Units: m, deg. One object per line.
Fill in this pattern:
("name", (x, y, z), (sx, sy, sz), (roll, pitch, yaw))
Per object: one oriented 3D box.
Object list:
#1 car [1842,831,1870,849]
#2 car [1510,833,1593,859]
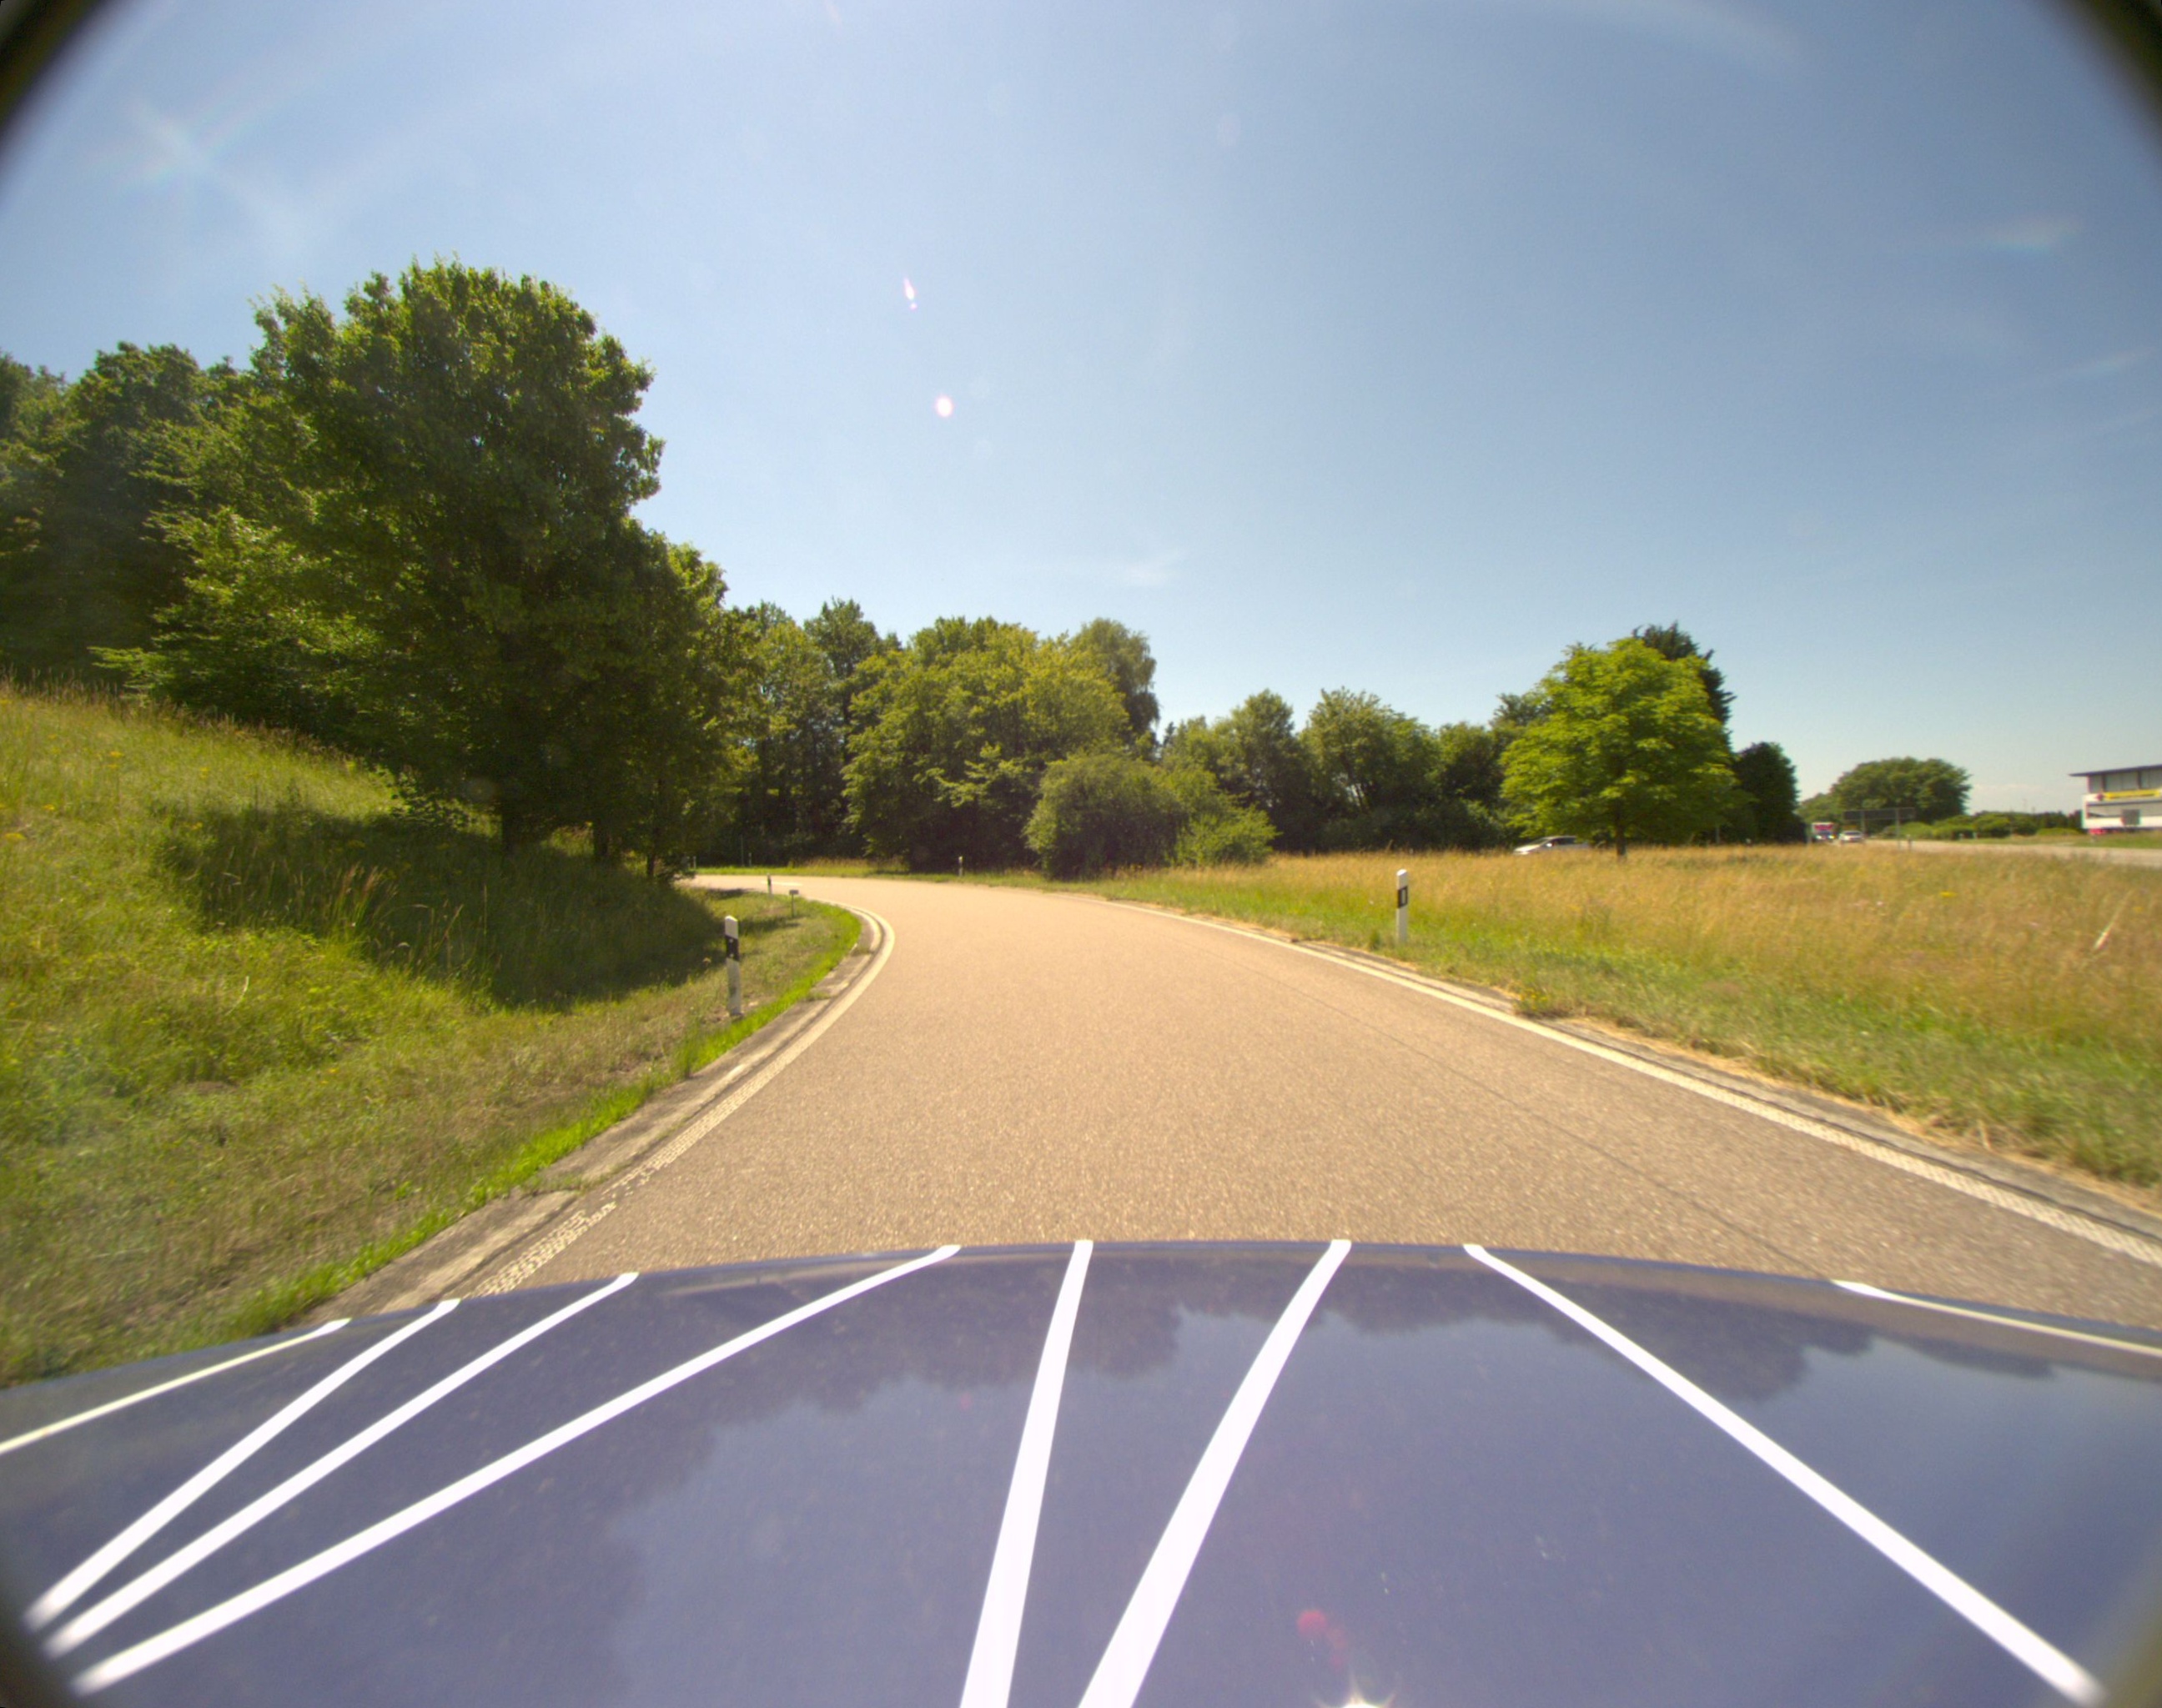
("car", (93.346, -1.661, 91.557), (1.909, 1.949, 4.466), (0, -1, 39))
("car", (29.153, -0.465, 47.150), (3.993, 1.586, 1.859), (0, 0, 13))
